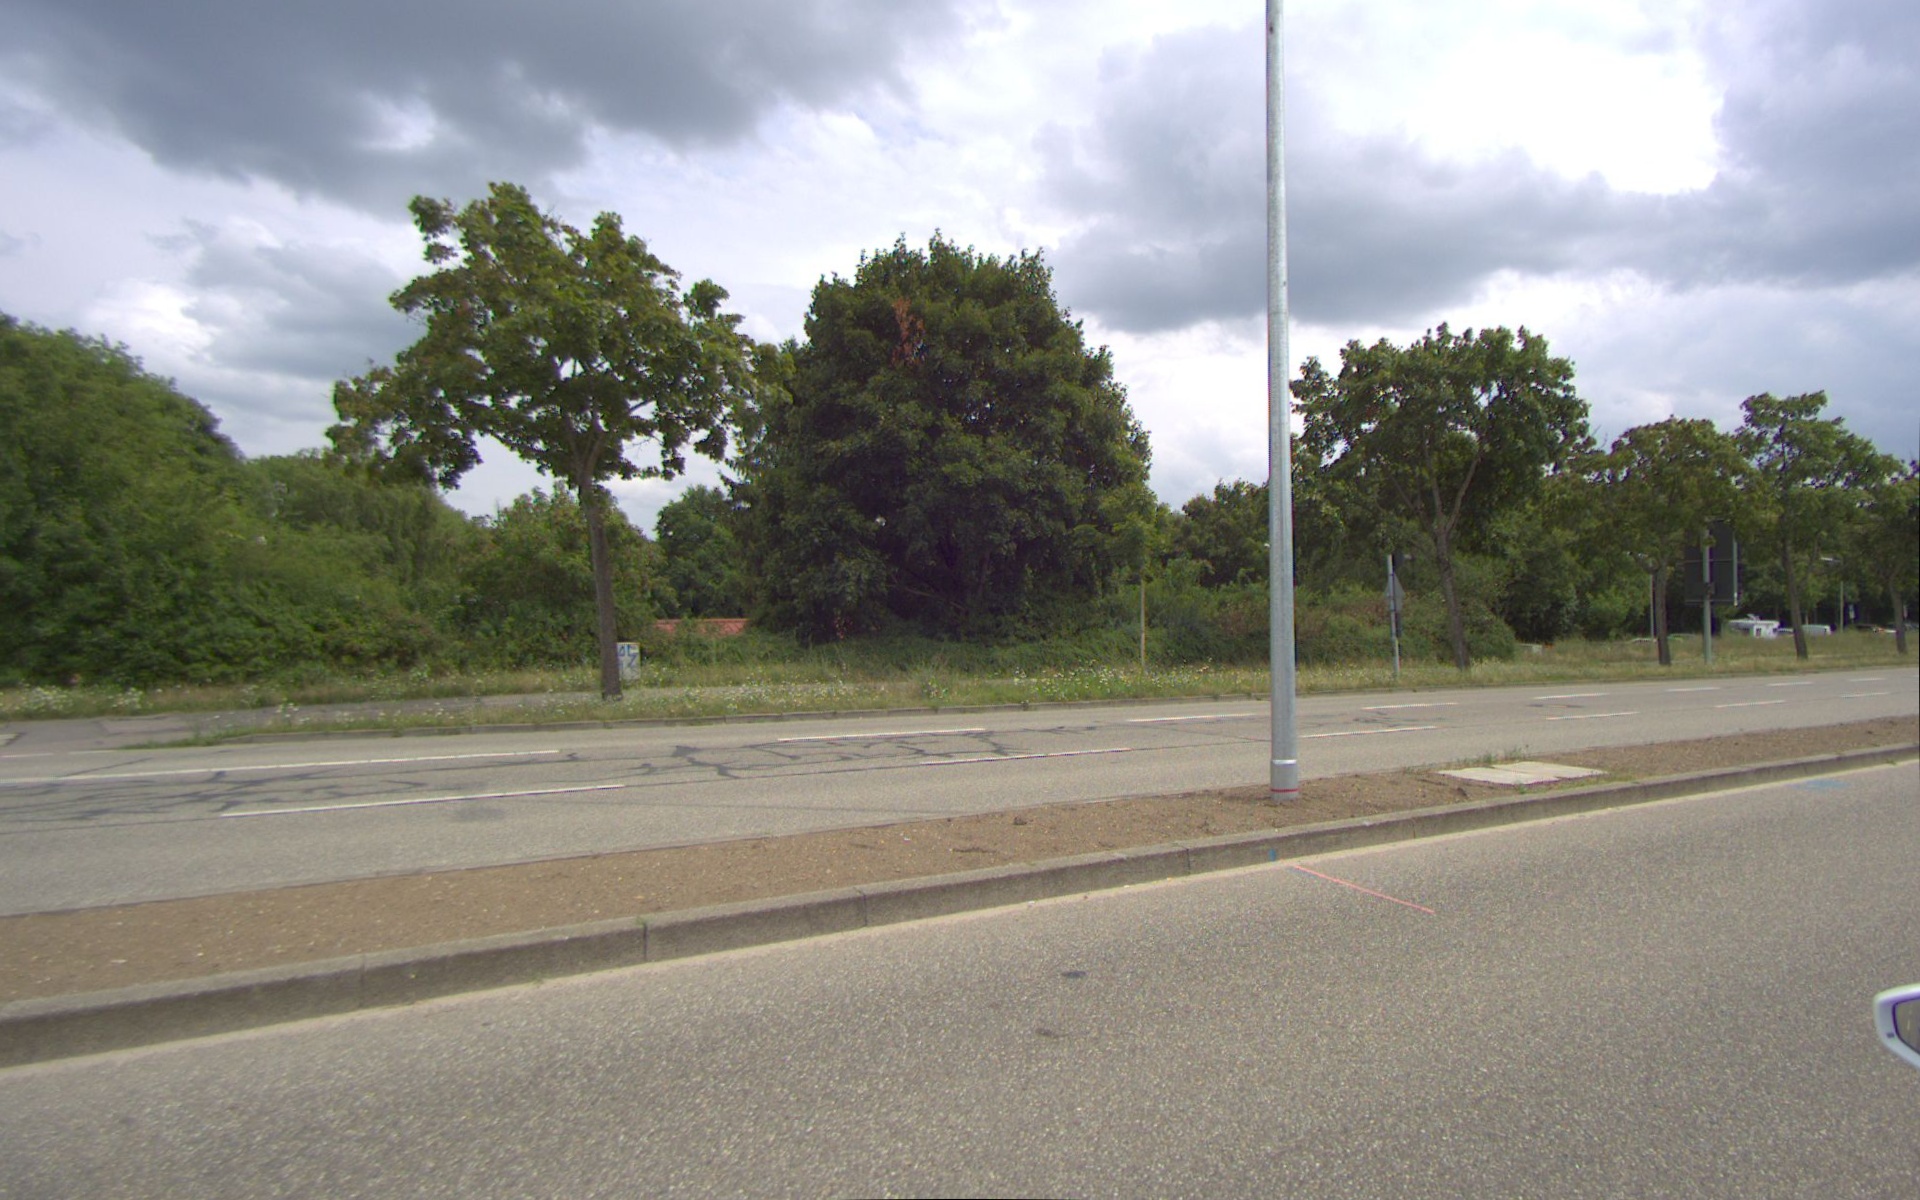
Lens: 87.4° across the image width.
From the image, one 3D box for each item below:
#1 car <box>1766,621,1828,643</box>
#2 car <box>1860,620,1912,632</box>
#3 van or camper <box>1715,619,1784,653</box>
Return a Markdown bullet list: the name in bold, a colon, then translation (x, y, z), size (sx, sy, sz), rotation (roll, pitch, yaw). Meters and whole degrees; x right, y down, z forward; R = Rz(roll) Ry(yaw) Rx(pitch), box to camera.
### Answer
- **car**: translation (75.938, 2.900, 91.212), size (1.918, 1.912, 3.965), rotation (0, 0, -32)
- **car**: translation (101.237, 2.822, 109.846), size (1.546, 1.276, 3.965), rotation (0, 0, -32)
- **van or camper**: translation (65.103, 2.898, 82.784), size (6.646, 2.575, 2.458), rotation (0, 0, -33)
